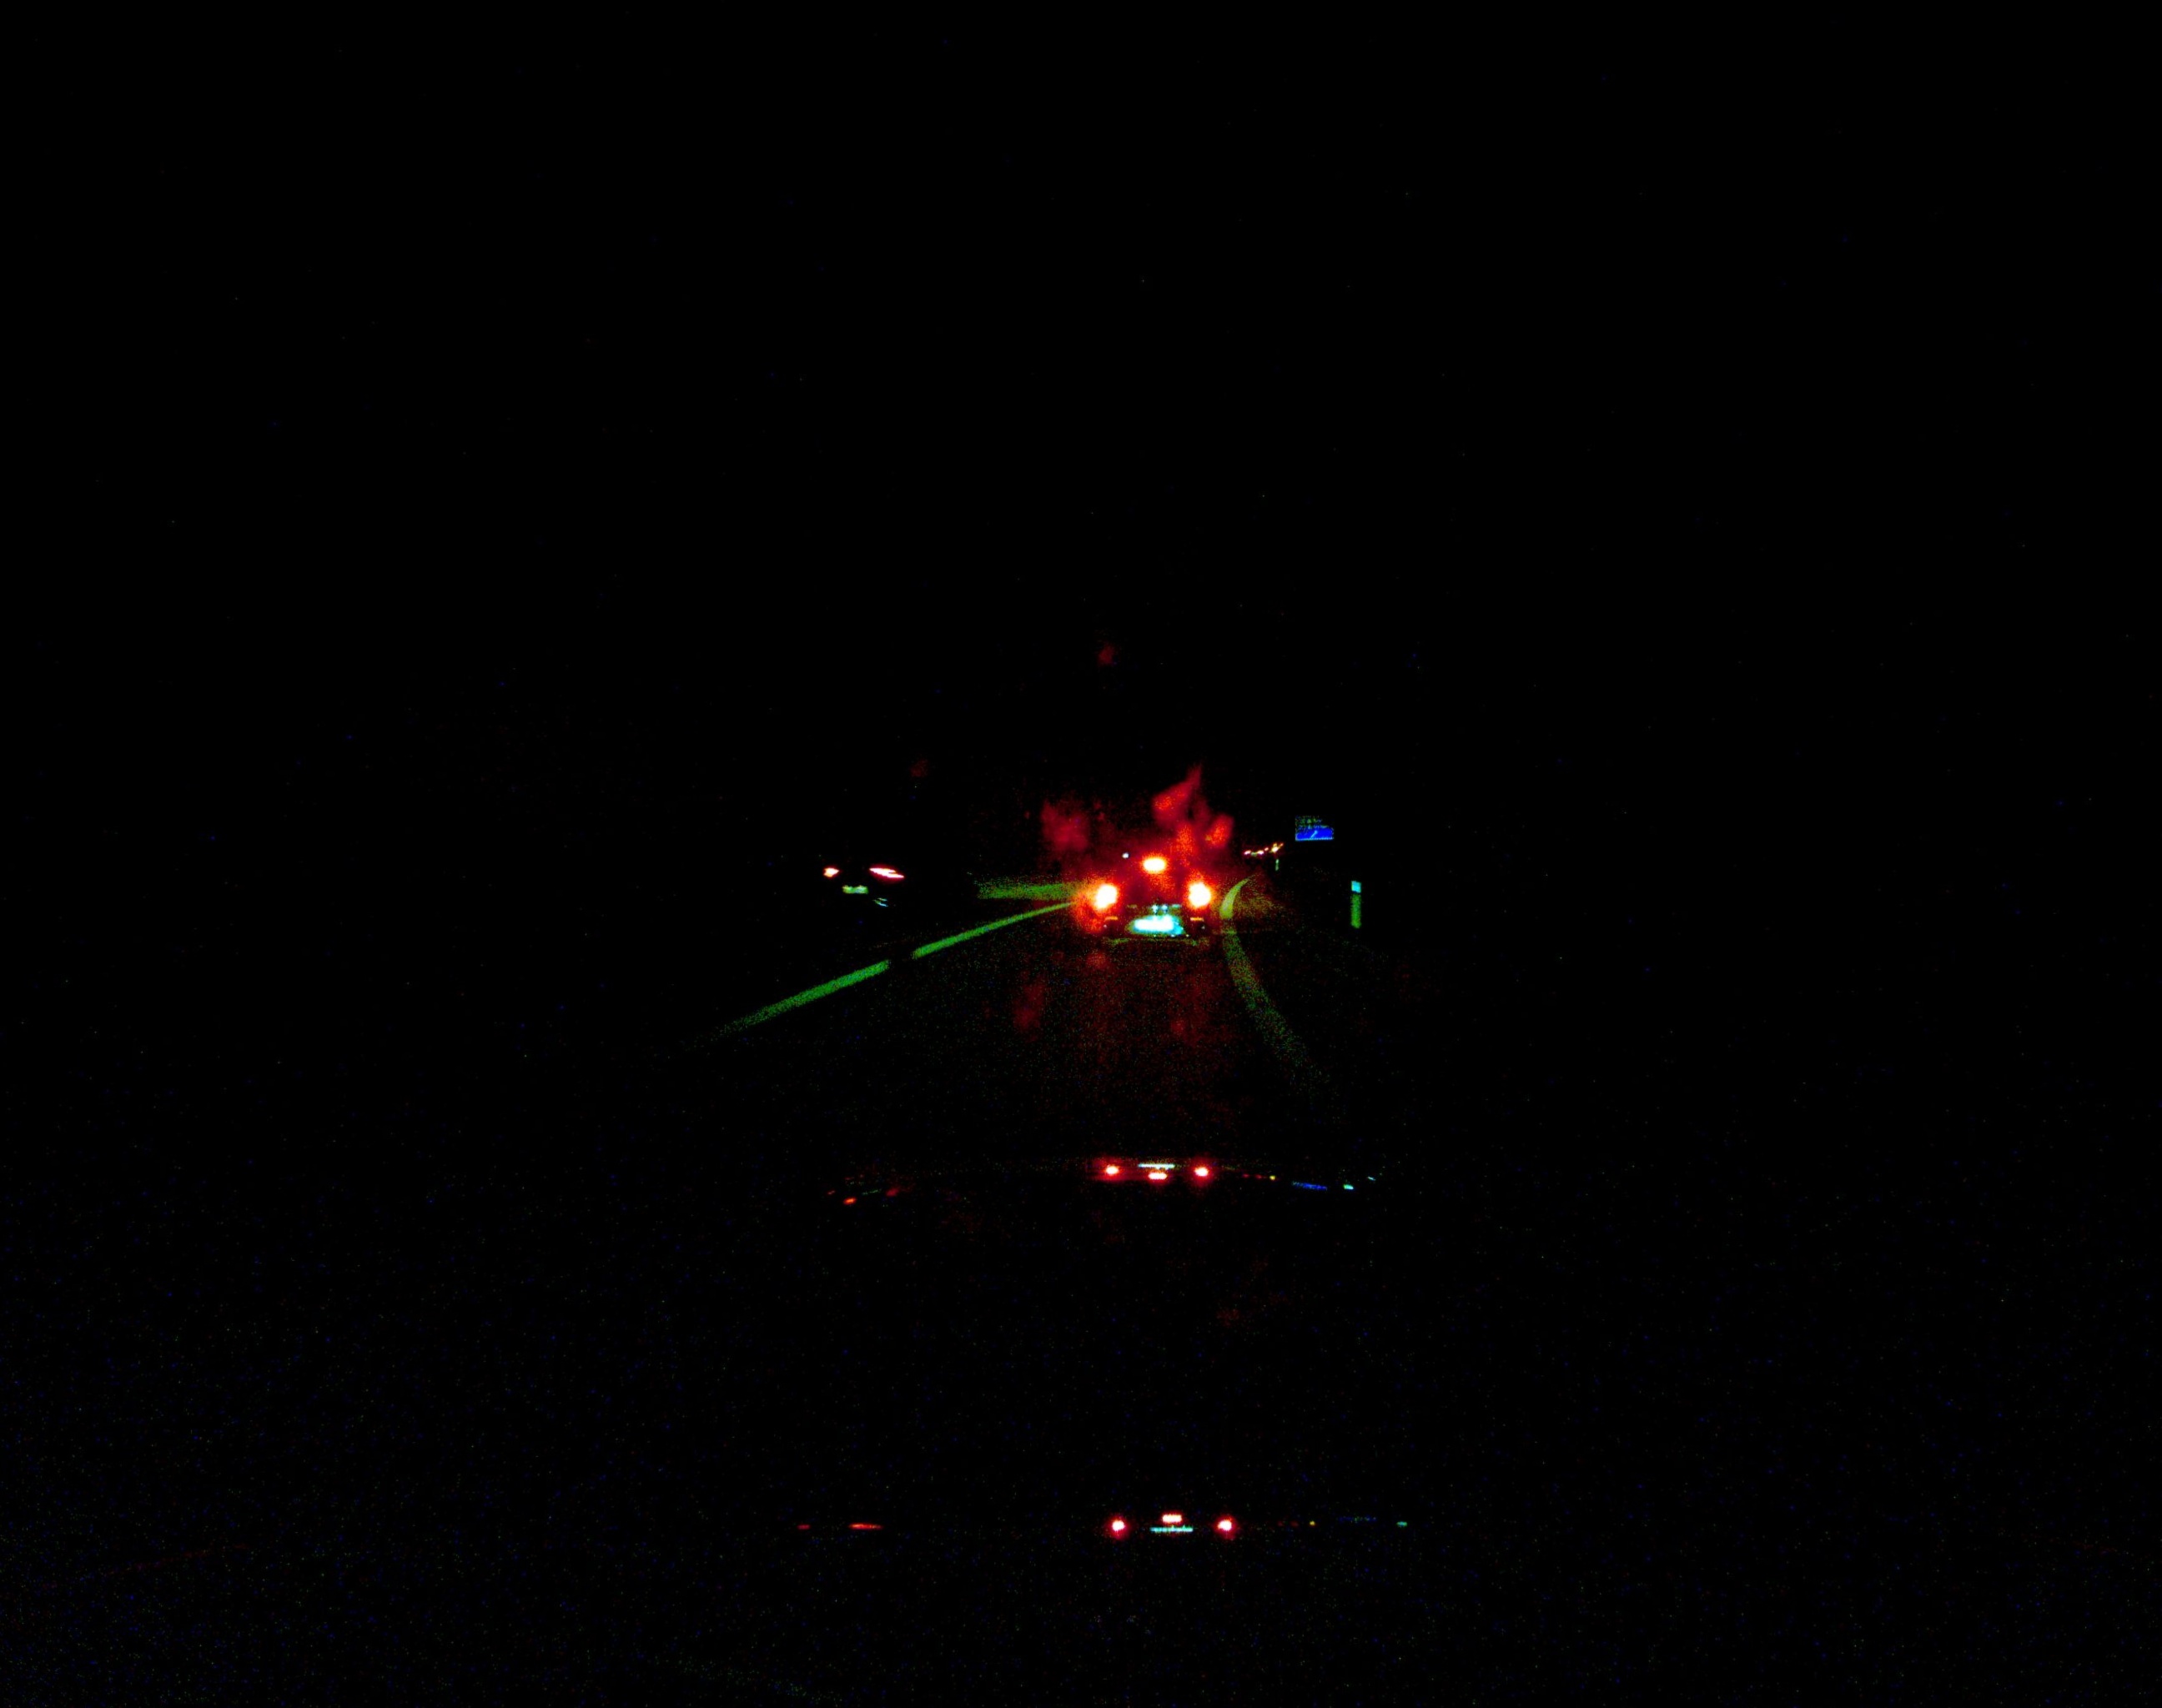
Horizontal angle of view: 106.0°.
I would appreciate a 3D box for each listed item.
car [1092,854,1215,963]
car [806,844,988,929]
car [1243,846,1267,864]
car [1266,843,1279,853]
[{"bbox_3d":[1.059,0.764,13.438,1.685,1.477,4.001,1,0,1],"label":"car"},{"bbox_3d":[-3.886,0.629,18.216,1.925,1.608,4.663,1,0,16],"label":"car"},{"bbox_3d":[17.006,0.135,79.395,1.937,1.538,4.257,-5,-2,15],"label":"car"},{"bbox_3d":[29.612,-0.920,125.905,1.721,1.618,3.814,0,0,15],"label":"car"}]
